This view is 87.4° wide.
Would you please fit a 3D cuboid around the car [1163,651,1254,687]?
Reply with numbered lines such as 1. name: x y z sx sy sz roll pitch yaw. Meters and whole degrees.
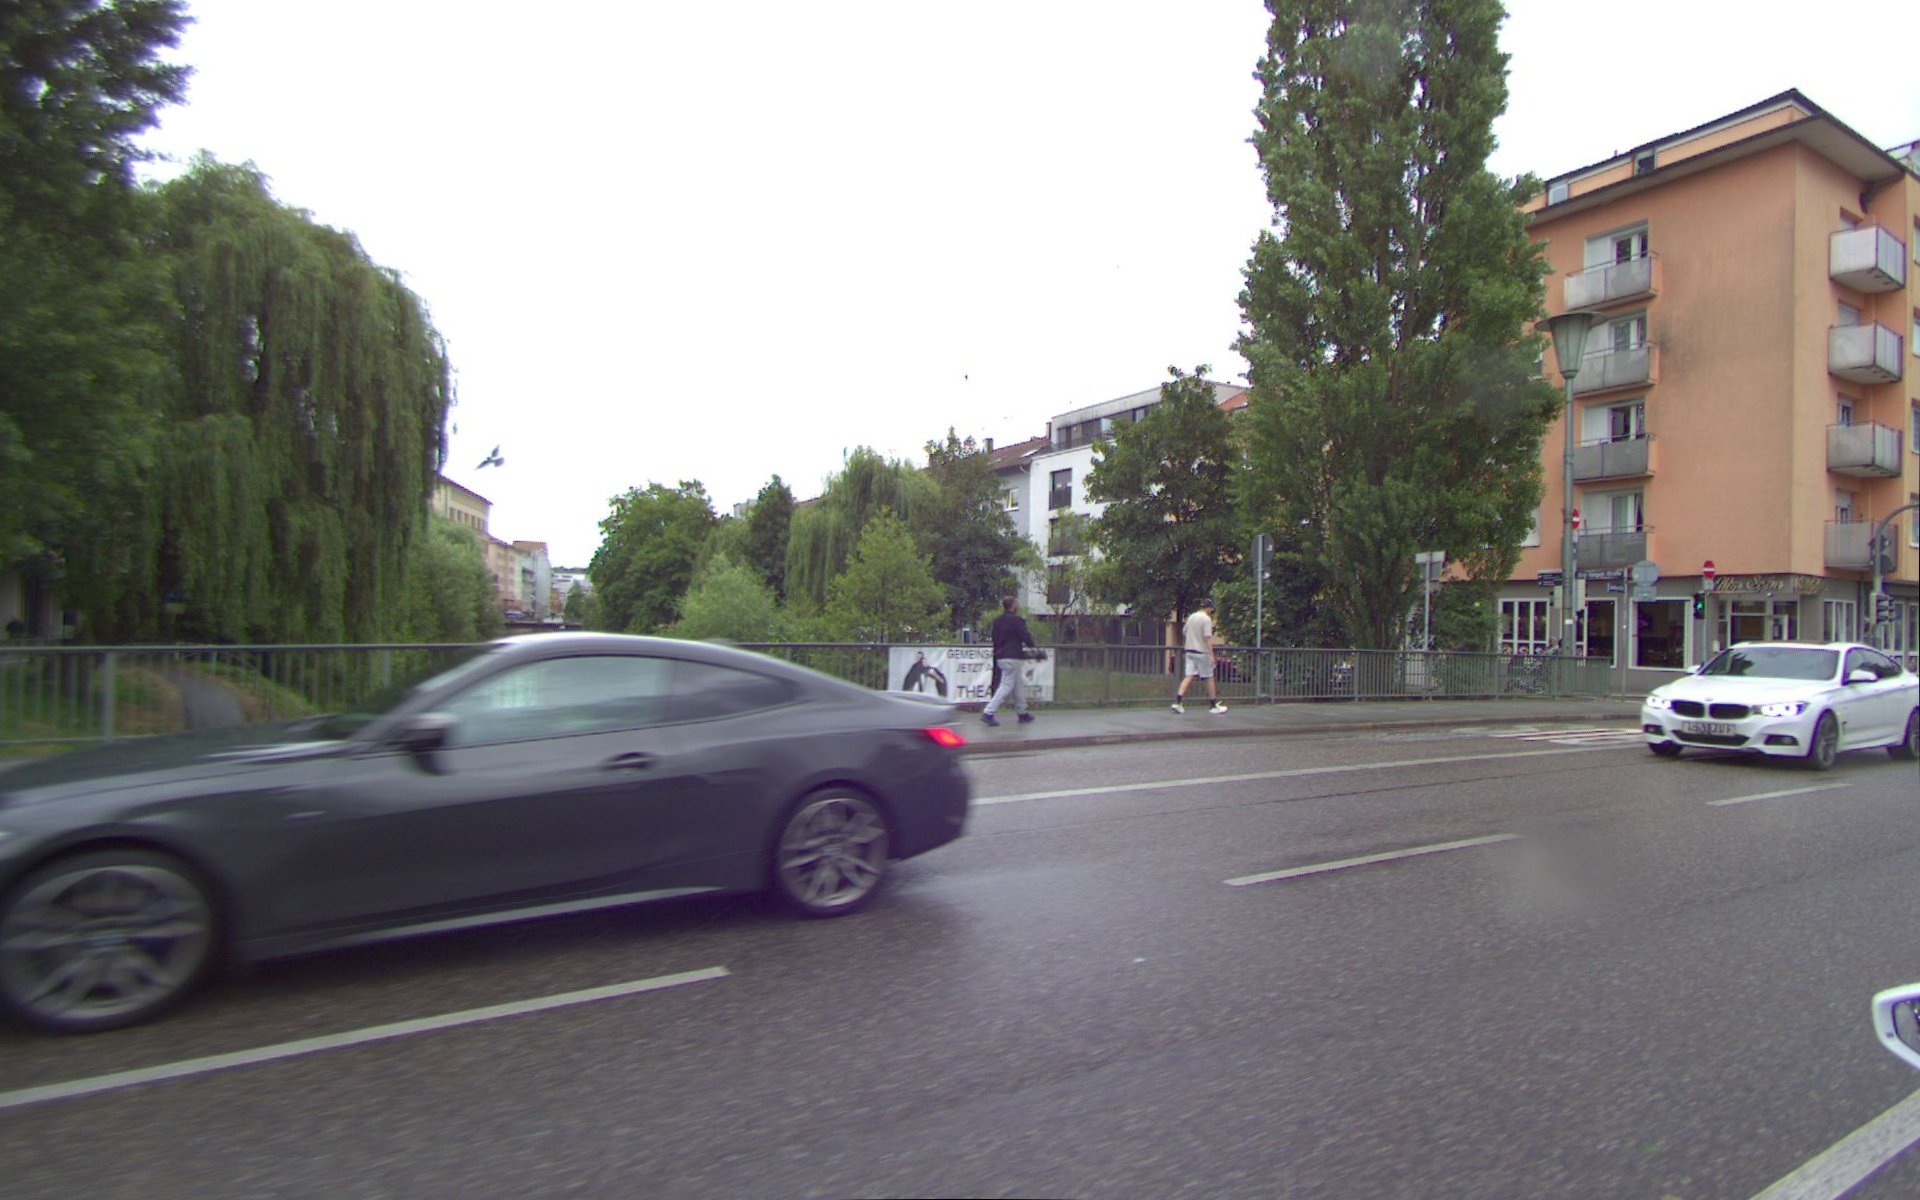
1. car: 11.342 3.135 46.120 1.876 1.406 3.969 2 -1 -29

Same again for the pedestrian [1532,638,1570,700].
1. pedestrian: 16.509 1.914 28.071 0.609 1.684 0.800 2 -3 5

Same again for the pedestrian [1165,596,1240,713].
1. pedestrian: 3.913 0.867 16.229 0.802 1.817 0.794 2 0 -28

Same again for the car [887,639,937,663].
1. car: -3.211 3.353 65.952 1.702 1.406 3.969 2 -1 -29

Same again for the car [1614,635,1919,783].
1. car: 10.669 1.259 12.965 4.764 1.530 1.827 1 -1 -31

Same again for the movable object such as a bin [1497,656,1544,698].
1. movable object such as a bin: 15.690 2.137 28.125 0.866 1.126 0.800 2 -3 4

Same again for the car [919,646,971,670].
1. car: -1.056 3.915 68.093 1.876 1.406 3.969 2 0 -29

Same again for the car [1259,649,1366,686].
1. car: 14.464 2.748 41.440 1.876 1.406 3.970 2 -2 -29

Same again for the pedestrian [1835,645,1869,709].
1. pedestrian: 25.094 2.162 28.263 0.640 1.750 0.528 2 -1 -27

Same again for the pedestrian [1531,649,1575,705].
1. pedestrian: 16.013 2.069 27.123 0.787 1.464 0.652 3 -3 -18

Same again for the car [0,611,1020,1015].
1. car: -1.989 0.783 5.148 4.356 1.343 1.782 2 -1 -31

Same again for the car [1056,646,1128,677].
1. car: 7.124 3.322 54.557 1.876 1.406 3.969 2 0 -29

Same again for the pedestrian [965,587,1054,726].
1. pedestrian: 0.669 0.758 13.685 0.946 1.817 0.695 2 0 -27
